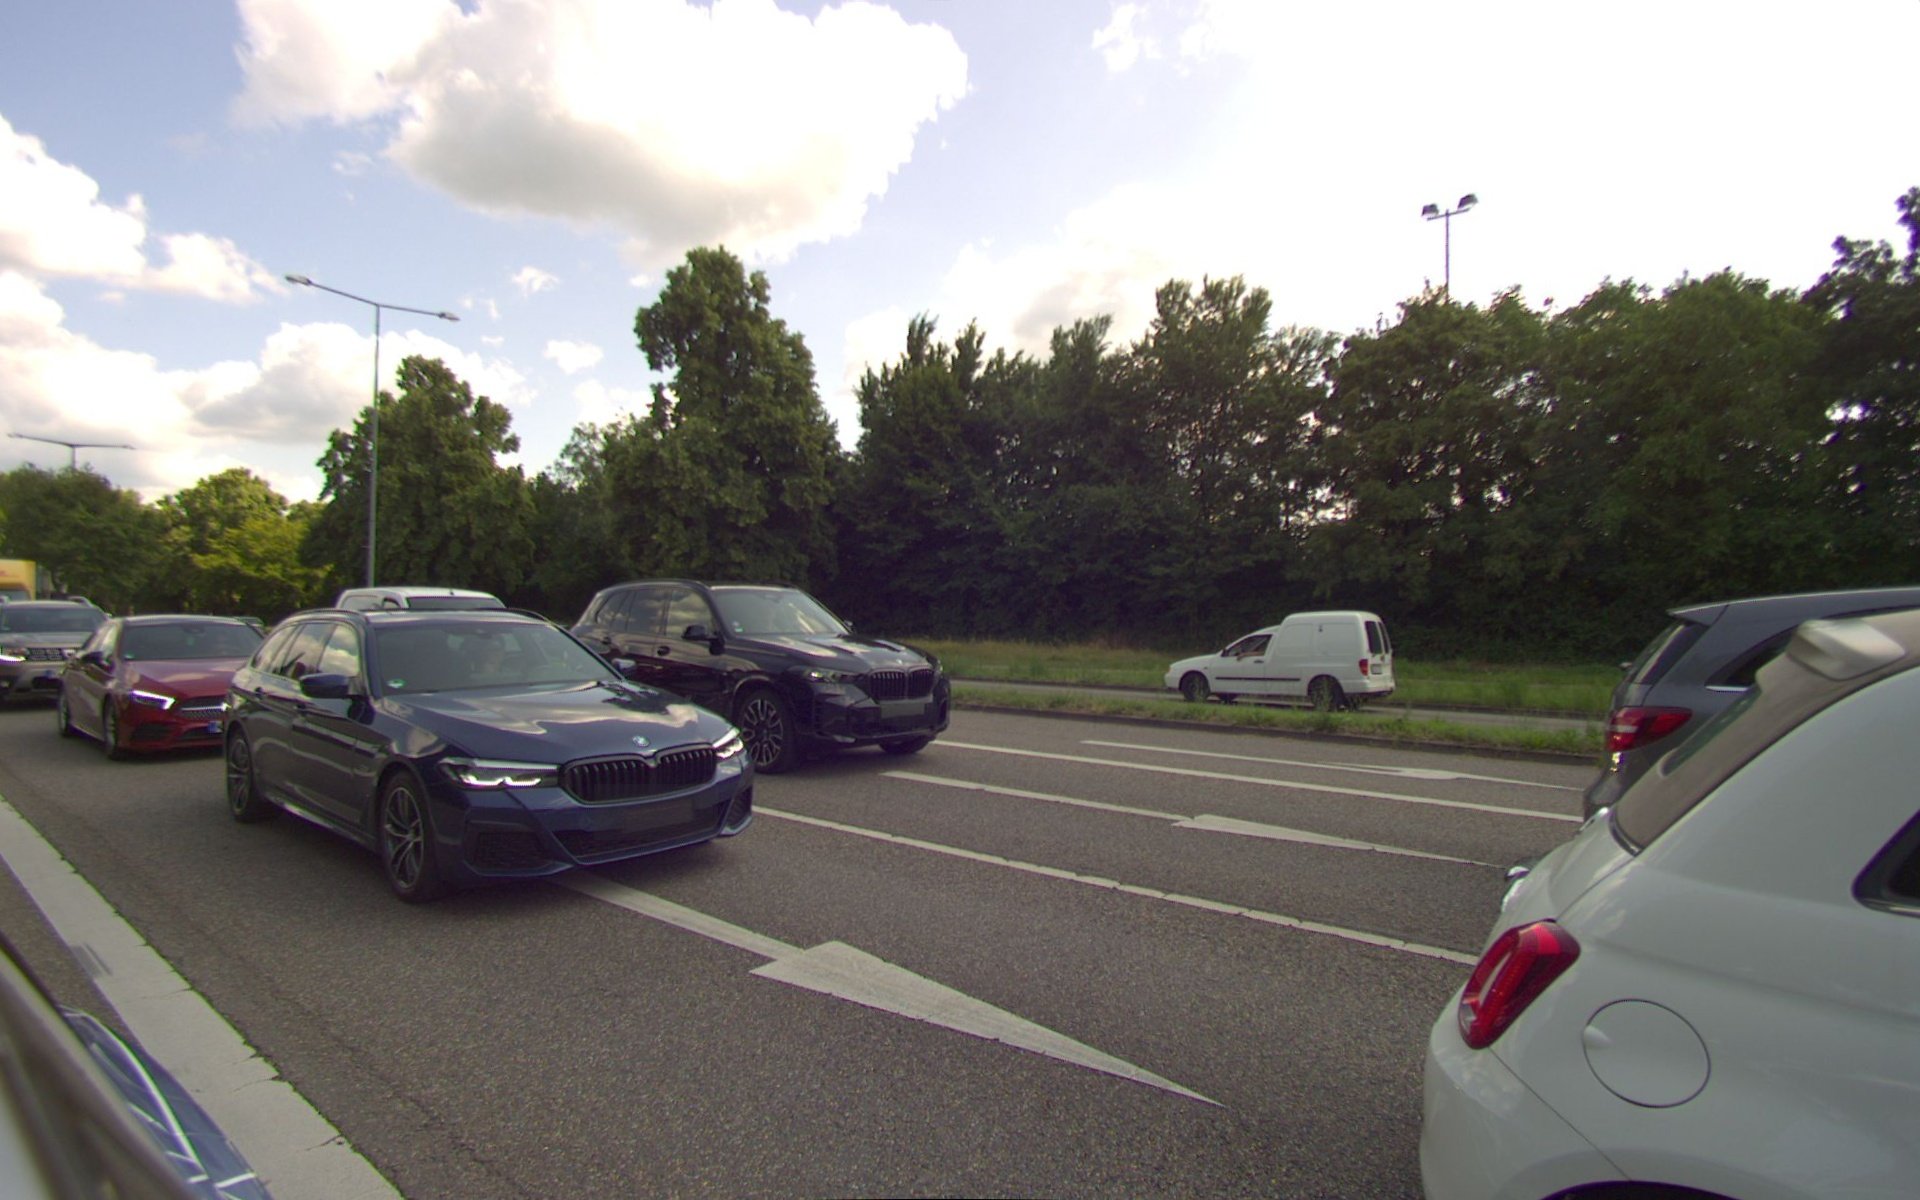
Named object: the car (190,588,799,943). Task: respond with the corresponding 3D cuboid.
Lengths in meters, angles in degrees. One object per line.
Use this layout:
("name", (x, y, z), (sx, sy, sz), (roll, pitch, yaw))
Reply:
("car", (-3.307, 0.700, 6.578), (4.871, 1.508, 1.778), (0, 0, 41))

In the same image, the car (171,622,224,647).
("car", (-44.804, 2.028, 59.453), (4.236, 1.435, 1.650), (-1, -3, 41))

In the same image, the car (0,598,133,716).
("car", (-14.459, 0.795, 15.831), (4.174, 1.624, 1.705), (0, 0, 41))

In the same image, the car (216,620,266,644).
("car", (-46.466, 2.069, 65.412), (4.236, 1.397, 1.650), (0, -3, 41))

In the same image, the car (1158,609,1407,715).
("car", (6.096, 1.097, 19.423), (4.252, 1.807, 1.653), (0, -1, 41))

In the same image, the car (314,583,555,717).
("car", (-8.315, 0.684, 15.820), (4.728, 1.812, 1.747), (0, -1, 41))

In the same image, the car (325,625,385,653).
("car", (-30.778, 1.968, 51.422), (3.655, 1.381, 1.447), (-1, -3, 40))

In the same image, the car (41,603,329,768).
("car", (-8.780, 0.797, 11.306), (4.533, 1.473, 1.705), (-1, 0, 41))

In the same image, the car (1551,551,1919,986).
("car", (4.873, 0.636, 3.807), (4.358, 1.631, 1.681), (0, -1, 41))

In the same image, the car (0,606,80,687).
("car", (-19.677, 0.900, 20.939), (3.892, 1.542, 1.705), (0, 0, 41))

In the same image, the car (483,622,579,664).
("car", (-16.139, 1.585, 37.982), (4.203, 1.469, 1.511), (0, -2, 40))

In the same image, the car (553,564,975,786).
("car", (-2.155, 0.609, 10.244), (4.547, 1.759, 1.794), (0, -1, 41))

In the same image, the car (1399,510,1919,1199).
("car", (2.554, 0.634, 1.075), (3.538, 1.508, 1.553), (0, 0, 41))

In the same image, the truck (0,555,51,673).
("truck", (-26.291, 0.381, 26.916), (6.963, 2.881, 2.333), (-1, 0, 41))
